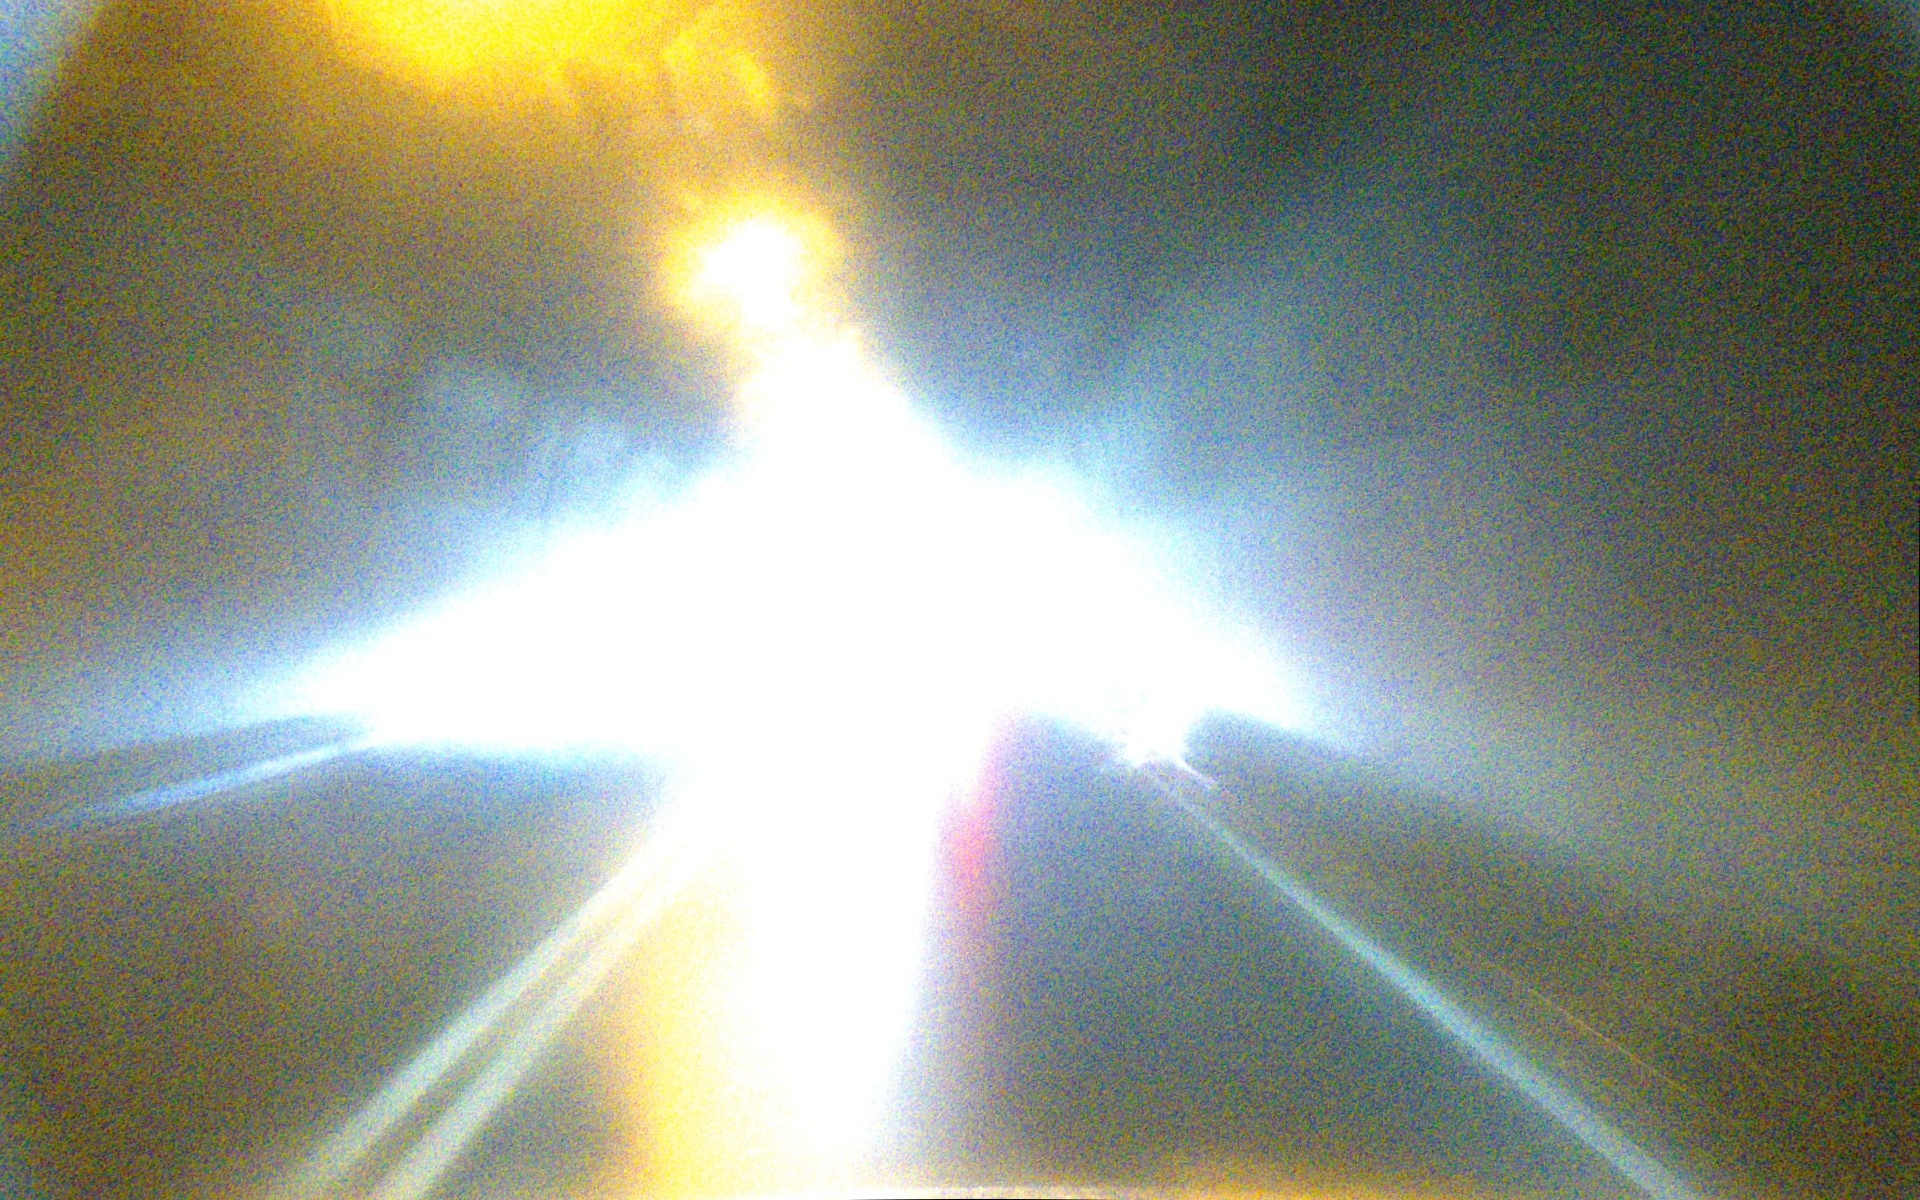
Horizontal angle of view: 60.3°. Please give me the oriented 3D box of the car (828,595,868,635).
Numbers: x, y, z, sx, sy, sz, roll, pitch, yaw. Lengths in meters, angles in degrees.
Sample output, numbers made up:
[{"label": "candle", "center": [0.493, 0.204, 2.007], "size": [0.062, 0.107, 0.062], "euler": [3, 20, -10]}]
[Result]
[{"label": "car", "center": [-4.888, 0.638, 72.770], "size": [1.537, 1.660, 3.729], "euler": [1, 0, -1]}]

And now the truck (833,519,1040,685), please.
[{"label": "truck", "center": [-0.476, 0.034, 32.606], "size": [3.463, 2.740, 8.953], "euler": [1, 0, -1]}]
